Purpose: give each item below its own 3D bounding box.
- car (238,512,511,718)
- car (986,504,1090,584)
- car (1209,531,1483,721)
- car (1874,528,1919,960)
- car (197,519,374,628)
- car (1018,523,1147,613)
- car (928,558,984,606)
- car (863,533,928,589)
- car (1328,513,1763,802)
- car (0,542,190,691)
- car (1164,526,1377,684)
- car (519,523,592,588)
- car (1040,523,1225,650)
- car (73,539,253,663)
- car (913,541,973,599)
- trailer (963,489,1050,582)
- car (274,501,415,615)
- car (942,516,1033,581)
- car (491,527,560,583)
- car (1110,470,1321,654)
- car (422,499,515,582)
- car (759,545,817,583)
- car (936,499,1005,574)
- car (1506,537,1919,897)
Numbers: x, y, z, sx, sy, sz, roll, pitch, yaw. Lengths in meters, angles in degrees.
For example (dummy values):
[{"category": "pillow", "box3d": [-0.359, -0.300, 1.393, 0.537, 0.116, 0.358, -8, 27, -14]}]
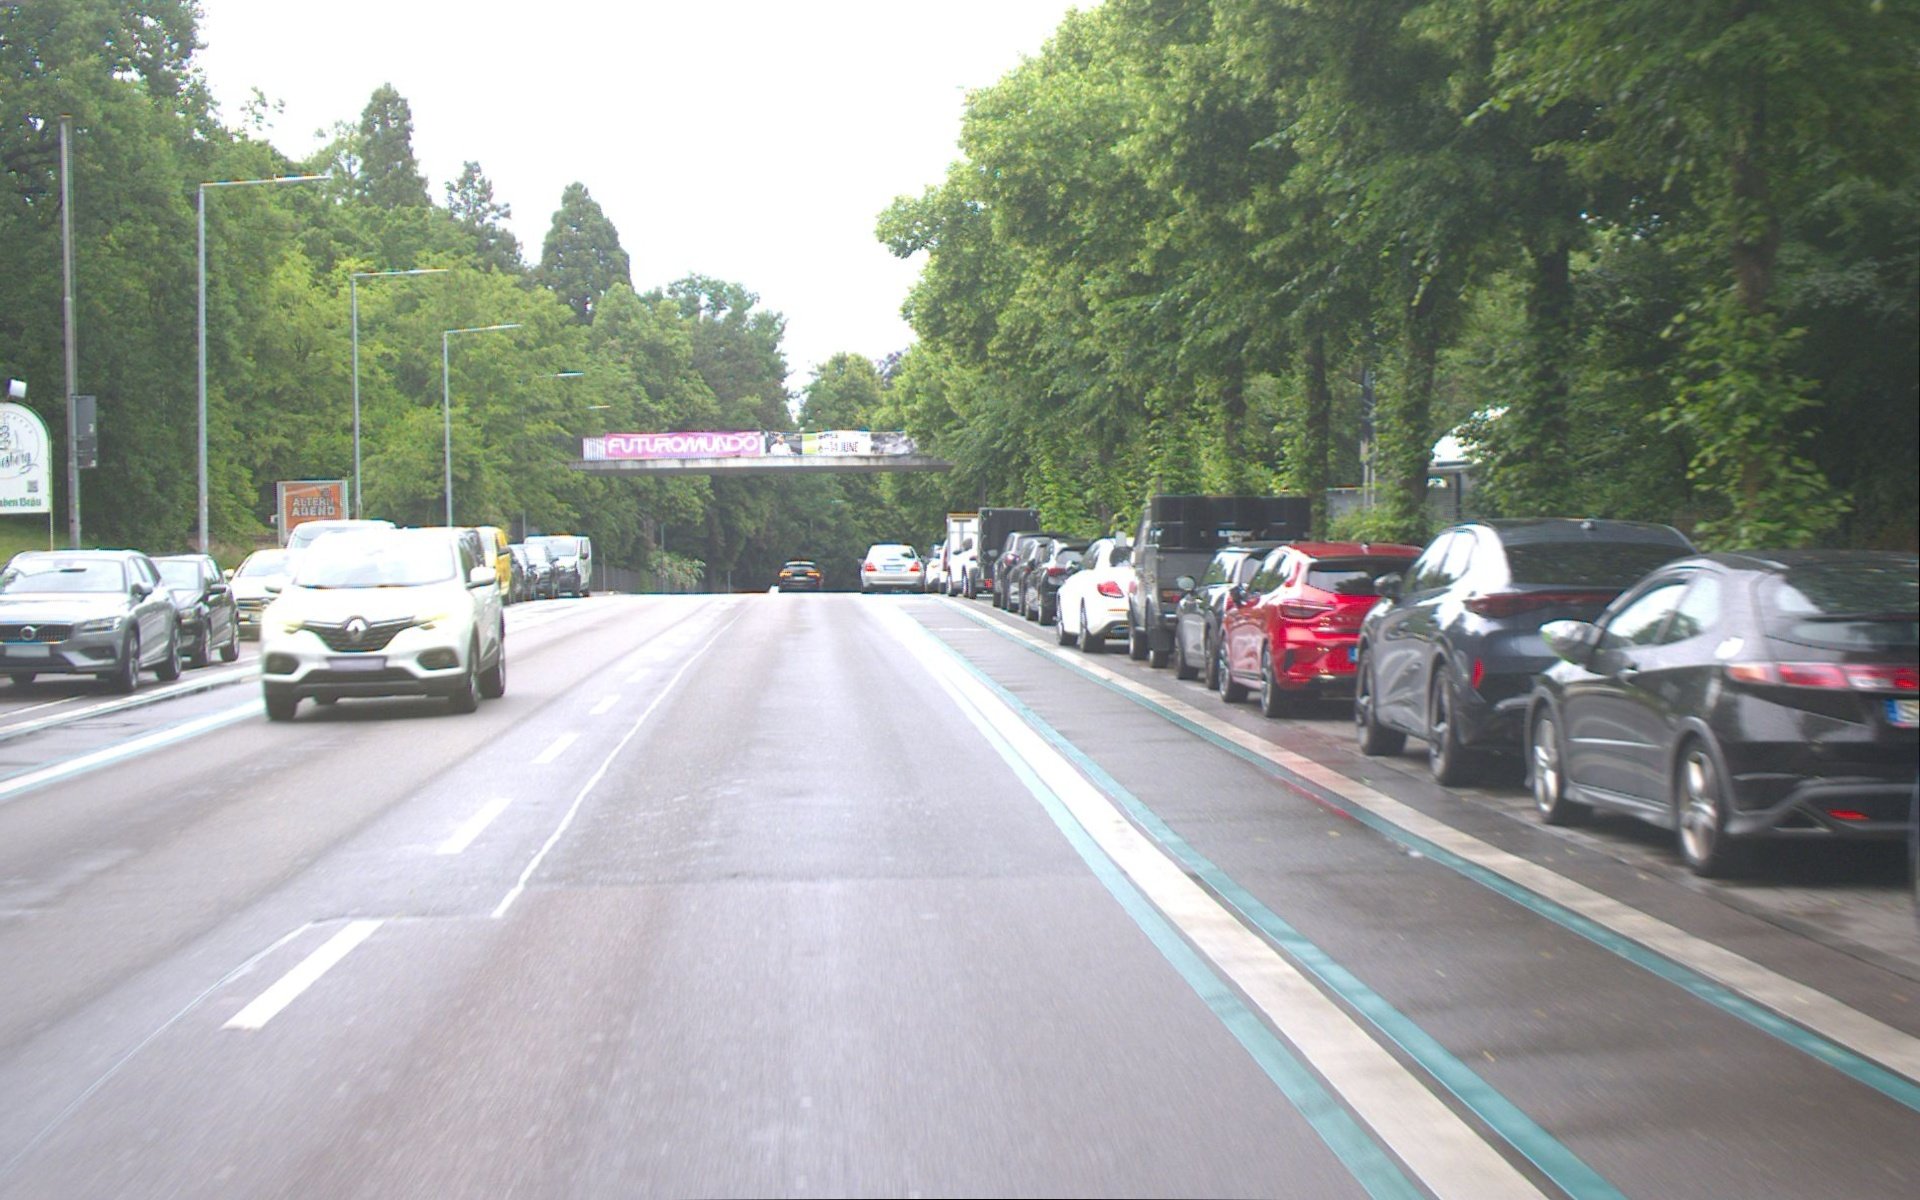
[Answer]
[{"category": "car", "box3d": [-5.142, 0.071, 30.696, 1.795, 1.646, 4.129, -2, 2, -2]}, {"category": "car", "box3d": [1.580, -1.160, 70.916, 1.731, 1.578, 4.155, 1, 1, -4]}, {"category": "car", "box3d": [3.202, 0.166, 29.278, 1.686, 1.448, 4.166, 1, 1, -2]}, {"category": "car", "box3d": [4.263, 0.554, 10.645, 1.686, 1.508, 3.835, 1, 1, -2]}, {"category": "car", "box3d": [-10.949, -0.473, 56.140, 1.990, 1.600, 4.985, -1, 2, -1]}, {"category": "car", "box3d": [2.063, -0.577, 59.008, 1.731, 1.458, 4.278, 0, 2, -4]}, {"category": "car", "box3d": [-0.150, -0.597, 111.998, 1.731, 1.457, 4.045, -1, 1, -1]}, {"category": "car", "box3d": [-1.894, -1.156, 100.319, 1.731, 1.578, 4.037, -1, 1, -3]}, {"category": "car", "box3d": [3.515, 0.265, 21.462, 1.756, 1.584, 4.499, 1, 1, -2]}, {"category": "car", "box3d": [-9.743, 0.130, 37.388, 2.076, 1.477, 4.674, 0, 1, -5]}, {"category": "car", "box3d": [3.030, 0.007, 34.183, 1.606, 1.448, 3.747, 1, 1, -2]}, {"category": "car", "box3d": [-12.763, -1.426, 108.683, 1.757, 1.925, 4.193, -1, 2, 0]}, {"category": "car", "box3d": [2.189, -0.214, 44.887, 1.789, 1.537, 4.890, 1, 1, -4]}, {"category": "car", "box3d": [-10.206, -0.020, 44.272, 1.695, 1.432, 4.055, -1, 2, -5]}, {"category": "car", "box3d": [-0.529, -0.946, 105.354, 1.731, 1.678, 4.045, -1, 1, -1]}, {"category": "trailer", "box3d": [1.095, -1.558, 83.104, 1.883, 2.158, 3.808, -1, 1, -2]}, {"category": "car", "box3d": [-11.152, -0.807, 62.578, 1.913, 1.924, 4.929, -1, 2, -3]}, {"category": "car", "box3d": [0.665, -1.313, 87.211, 1.730, 1.578, 4.155, -1, 1, -7]}, {"category": "car", "box3d": [-12.781, -1.329, 101.233, 1.869, 1.536, 4.055, -1, 2, -5]}, {"category": "car", "box3d": [2.907, -0.478, 39.995, 1.926, 2.015, 4.664, 0, 2, -2]}, {"category": "car", "box3d": [-12.084, -1.490, 84.734, 1.882, 1.938, 4.827, -1, 2, -4]}, {"category": "car", "box3d": [-7.030, -1.477, 140.219, 2.140, 1.487, 4.499, 0, 1, -6]}, {"category": "car", "box3d": [0.286, -1.851, 99.941, 1.889, 2.119, 4.045, 0, 1, -1]}, {"category": "car", "box3d": [3.898, 0.457, 16.379, 1.686, 1.451, 4.147, 1, 1, -3]}]
